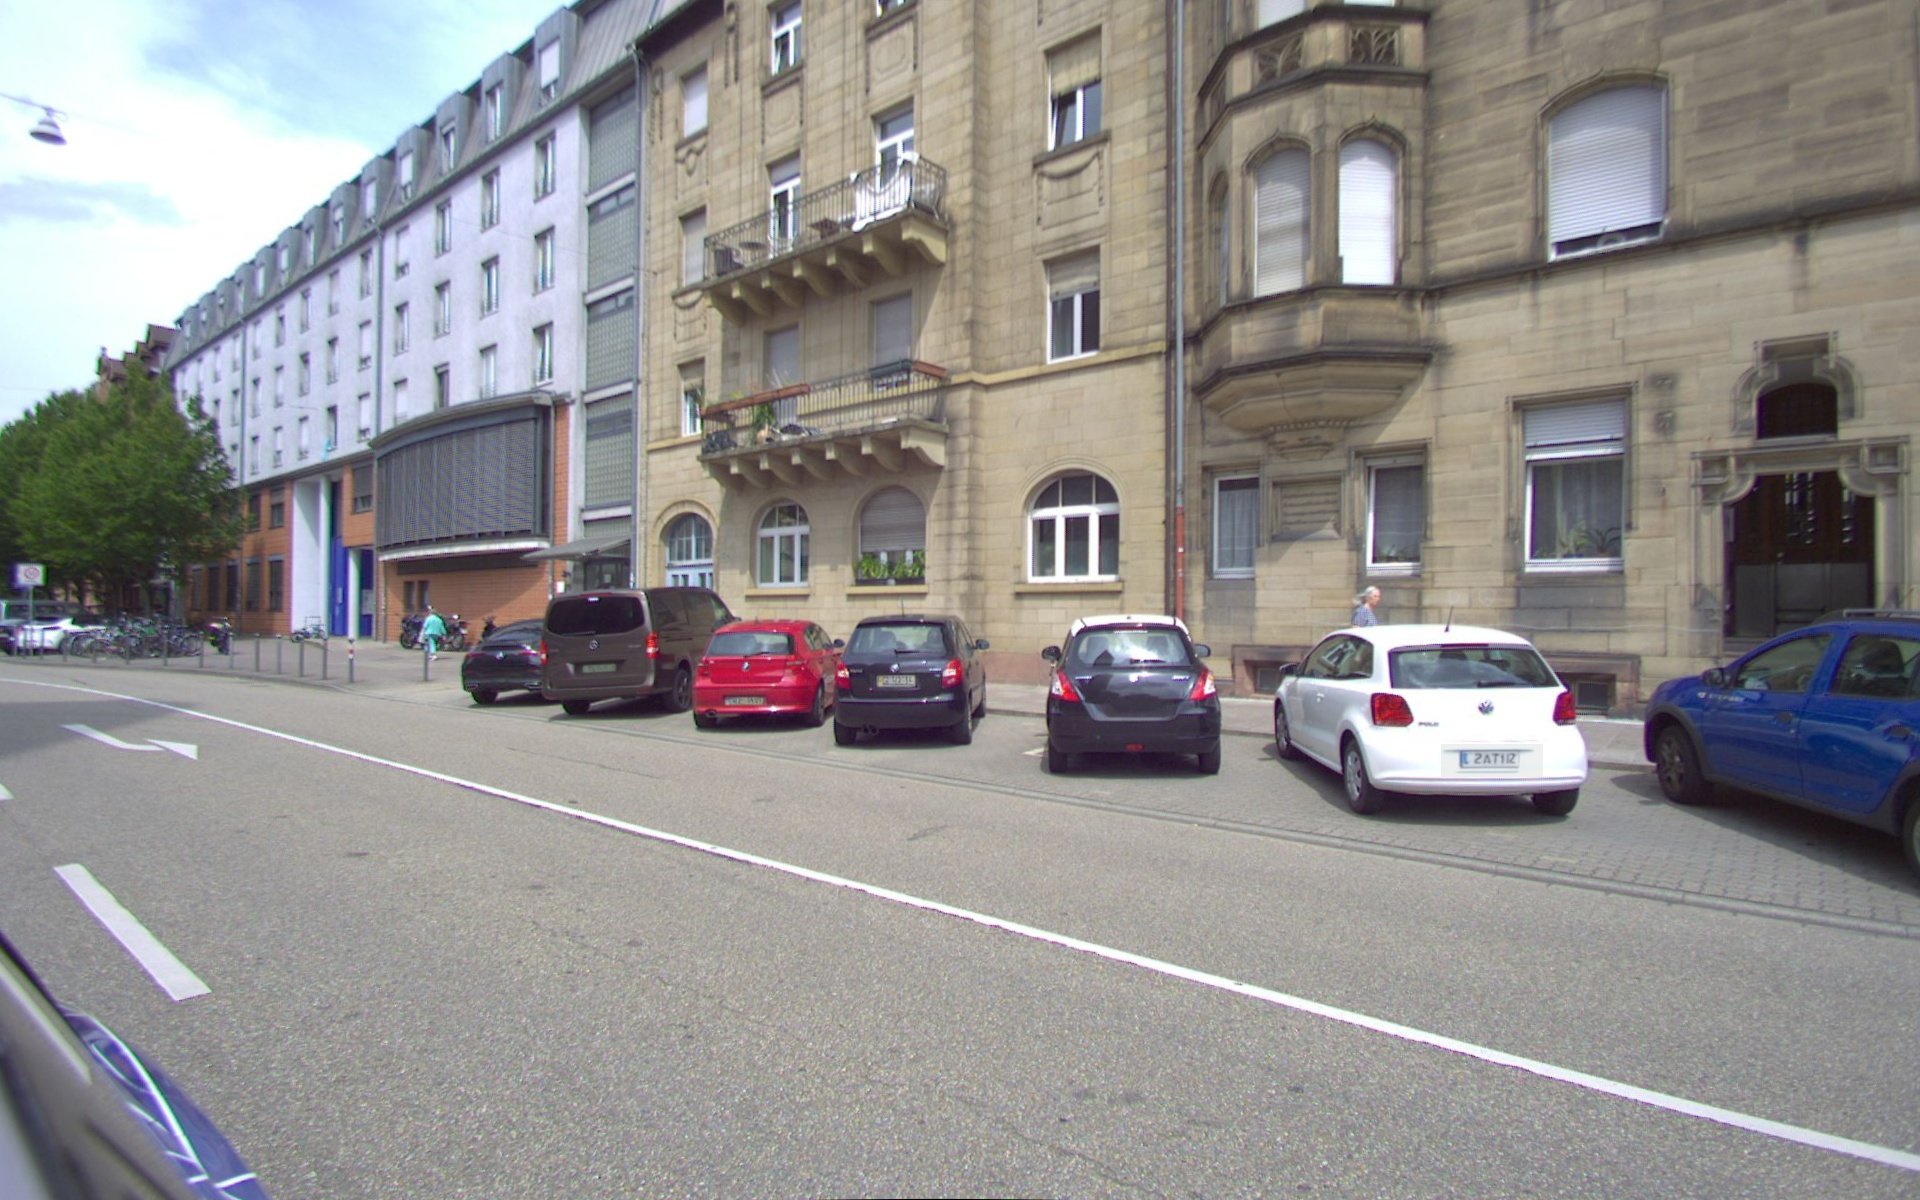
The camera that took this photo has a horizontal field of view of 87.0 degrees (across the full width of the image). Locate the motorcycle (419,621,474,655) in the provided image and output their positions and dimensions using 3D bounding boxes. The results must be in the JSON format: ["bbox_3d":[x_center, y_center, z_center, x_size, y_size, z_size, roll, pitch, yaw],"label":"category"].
[{"bbox_3d":[-16.286,1.205,32.099,1.959,1.057,0.579,-2,-1,30],"label":"motorcycle"}]

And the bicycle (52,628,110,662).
[{"bbox_3d":[-29.076,1.482,33.487,0.402,1.034,1.391,-2,0,43],"label":"bicycle"}]

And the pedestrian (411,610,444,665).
[{"bbox_3d":[-14.750,1.034,28.036,0.508,1.497,0.653,-2,-2,39],"label":"pedestrian"}]

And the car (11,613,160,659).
[{"bbox_3d":[-30.935,1.258,35.951,1.583,1.557,3.997,0,-1,7],"label":"car"}]

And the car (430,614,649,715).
[{"bbox_3d":[-7.453,1.070,18.530,1.875,1.420,4.669,-2,1,2],"label":"car"}]

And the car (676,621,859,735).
[{"bbox_3d":[-2.602,1.027,14.621,1.772,1.420,4.009,0,-1,2],"label":"car"}]

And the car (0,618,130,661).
[{"bbox_3d":[-33.197,1.413,37.087,1.697,1.480,4.307,0,-1,7],"label":"car"}]

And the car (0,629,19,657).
[{"bbox_3d":[-55.671,2.446,56.812,1.671,1.580,3.996,-1,-2,8],"label":"car"}]

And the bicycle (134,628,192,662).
[{"bbox_3d":[-25.067,1.411,31.859,0.402,1.034,1.390,-2,-1,43],"label":"bicycle"}]

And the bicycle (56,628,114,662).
[{"bbox_3d":[-28.474,1.459,32.949,0.402,1.034,1.391,-2,0,43],"label":"bicycle"}]

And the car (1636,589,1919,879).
[{"bbox_3d":[6.429,0.785,6.602,1.703,1.664,3.772,0,-2,5],"label":"car"}]

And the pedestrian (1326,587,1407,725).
[{"bbox_3d":[5.000,0.661,12.450,0.678,1.607,0.783,-1,0,41],"label":"pedestrian"}]

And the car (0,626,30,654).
[{"bbox_3d":[-53.607,2.208,55.284,1.671,1.580,3.996,-1,-2,8],"label":"car"}]

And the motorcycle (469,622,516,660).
[{"bbox_3d":[-13.634,1.183,29.506,1.793,1.057,0.577,-2,-1,42],"label":"motorcycle"}]

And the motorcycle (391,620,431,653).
[{"bbox_3d":[-18.201,1.217,33.546,1.656,1.057,0.577,-2,-1,40],"label":"motorcycle"}]

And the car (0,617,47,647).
[{"bbox_3d":[-47.608,1.592,49.680,1.671,1.465,3.996,-1,-2,8],"label":"car"}]

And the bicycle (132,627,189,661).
[{"bbox_3d":[-25.454,1.403,32.232,0.402,1.034,1.390,-2,-1,43],"label":"bicycle"}]

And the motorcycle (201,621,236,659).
[{"bbox_3d":[-23.748,1.272,32.401,1.779,1.181,0.577,-2,-1,43],"label":"motorcycle"}]

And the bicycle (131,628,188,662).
[{"bbox_3d":[-25.776,1.432,32.601,0.402,1.034,1.390,-2,-1,43],"label":"bicycle"}]

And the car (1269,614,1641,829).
[{"bbox_3d":[4.029,0.898,8.974,1.720,1.493,3.680,0,-1,5],"label":"car"}]

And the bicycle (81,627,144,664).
[{"bbox_3d":[-25.470,1.356,30.440,0.402,1.046,1.391,-2,0,43],"label":"bicycle"}]

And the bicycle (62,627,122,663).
[{"bbox_3d":[-27.529,1.417,32.098,0.402,1.034,1.391,-2,0,43],"label":"bicycle"}]

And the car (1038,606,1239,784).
[{"bbox_3d":[1.905,0.900,11.133,1.776,1.576,4.001,-1,-2,9],"label":"car"}]

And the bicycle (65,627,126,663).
[{"bbox_3d":[-27.045,1.391,31.676,0.402,1.046,1.391,-2,0,43],"label":"bicycle"}]

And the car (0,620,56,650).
[{"bbox_3d":[-45.876,1.677,48.296,1.577,1.400,3.996,-1,-2,8],"label":"car"}]

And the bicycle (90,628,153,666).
[{"bbox_3d":[-24.758,1.372,29.898,0.402,1.046,1.391,-2,0,43],"label":"bicycle"}]

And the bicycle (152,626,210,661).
[{"bbox_3d":[-24.003,1.316,31.193,0.402,1.034,1.390,-2,-1,43],"label":"bicycle"}]

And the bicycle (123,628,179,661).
[{"bbox_3d":[-26.445,1.429,33.077,0.402,1.034,1.390,-2,-1,43],"label":"bicycle"}]

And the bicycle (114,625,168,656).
[{"bbox_3d":[-27.738,1.360,34.290,0.402,1.034,1.390,-2,-1,43],"label":"bicycle"}]

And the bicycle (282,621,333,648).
[{"bbox_3d":[-26.248,1.375,40.733,1.590,0.933,0.933,-6,2,-37],"label":"bicycle"}]

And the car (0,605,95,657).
[{"bbox_3d":[-37.583,1.210,40.707,1.841,2.013,3.993,-1,0,10],"label":"car"}]

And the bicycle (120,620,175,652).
[{"bbox_3d":[-26.813,1.174,33.403,0.402,1.034,1.390,-2,-1,43],"label":"bicycle"}]

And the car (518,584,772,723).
[{"bbox_3d":[-4.933,0.819,16.850,2.096,1.924,5.260,0,-1,7],"label":"car"}]

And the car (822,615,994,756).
[{"bbox_3d":[-0.511,0.976,12.964,1.611,1.514,3.989,0,-1,6],"label":"car"}]

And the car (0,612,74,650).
[{"bbox_3d":[-41.710,1.376,44.546,1.692,1.627,3.996,-1,-2,8],"label":"car"}]

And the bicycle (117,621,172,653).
[{"bbox_3d":[-27.310,1.220,33.887,0.402,1.034,1.390,-2,-1,43],"label":"bicycle"}]
